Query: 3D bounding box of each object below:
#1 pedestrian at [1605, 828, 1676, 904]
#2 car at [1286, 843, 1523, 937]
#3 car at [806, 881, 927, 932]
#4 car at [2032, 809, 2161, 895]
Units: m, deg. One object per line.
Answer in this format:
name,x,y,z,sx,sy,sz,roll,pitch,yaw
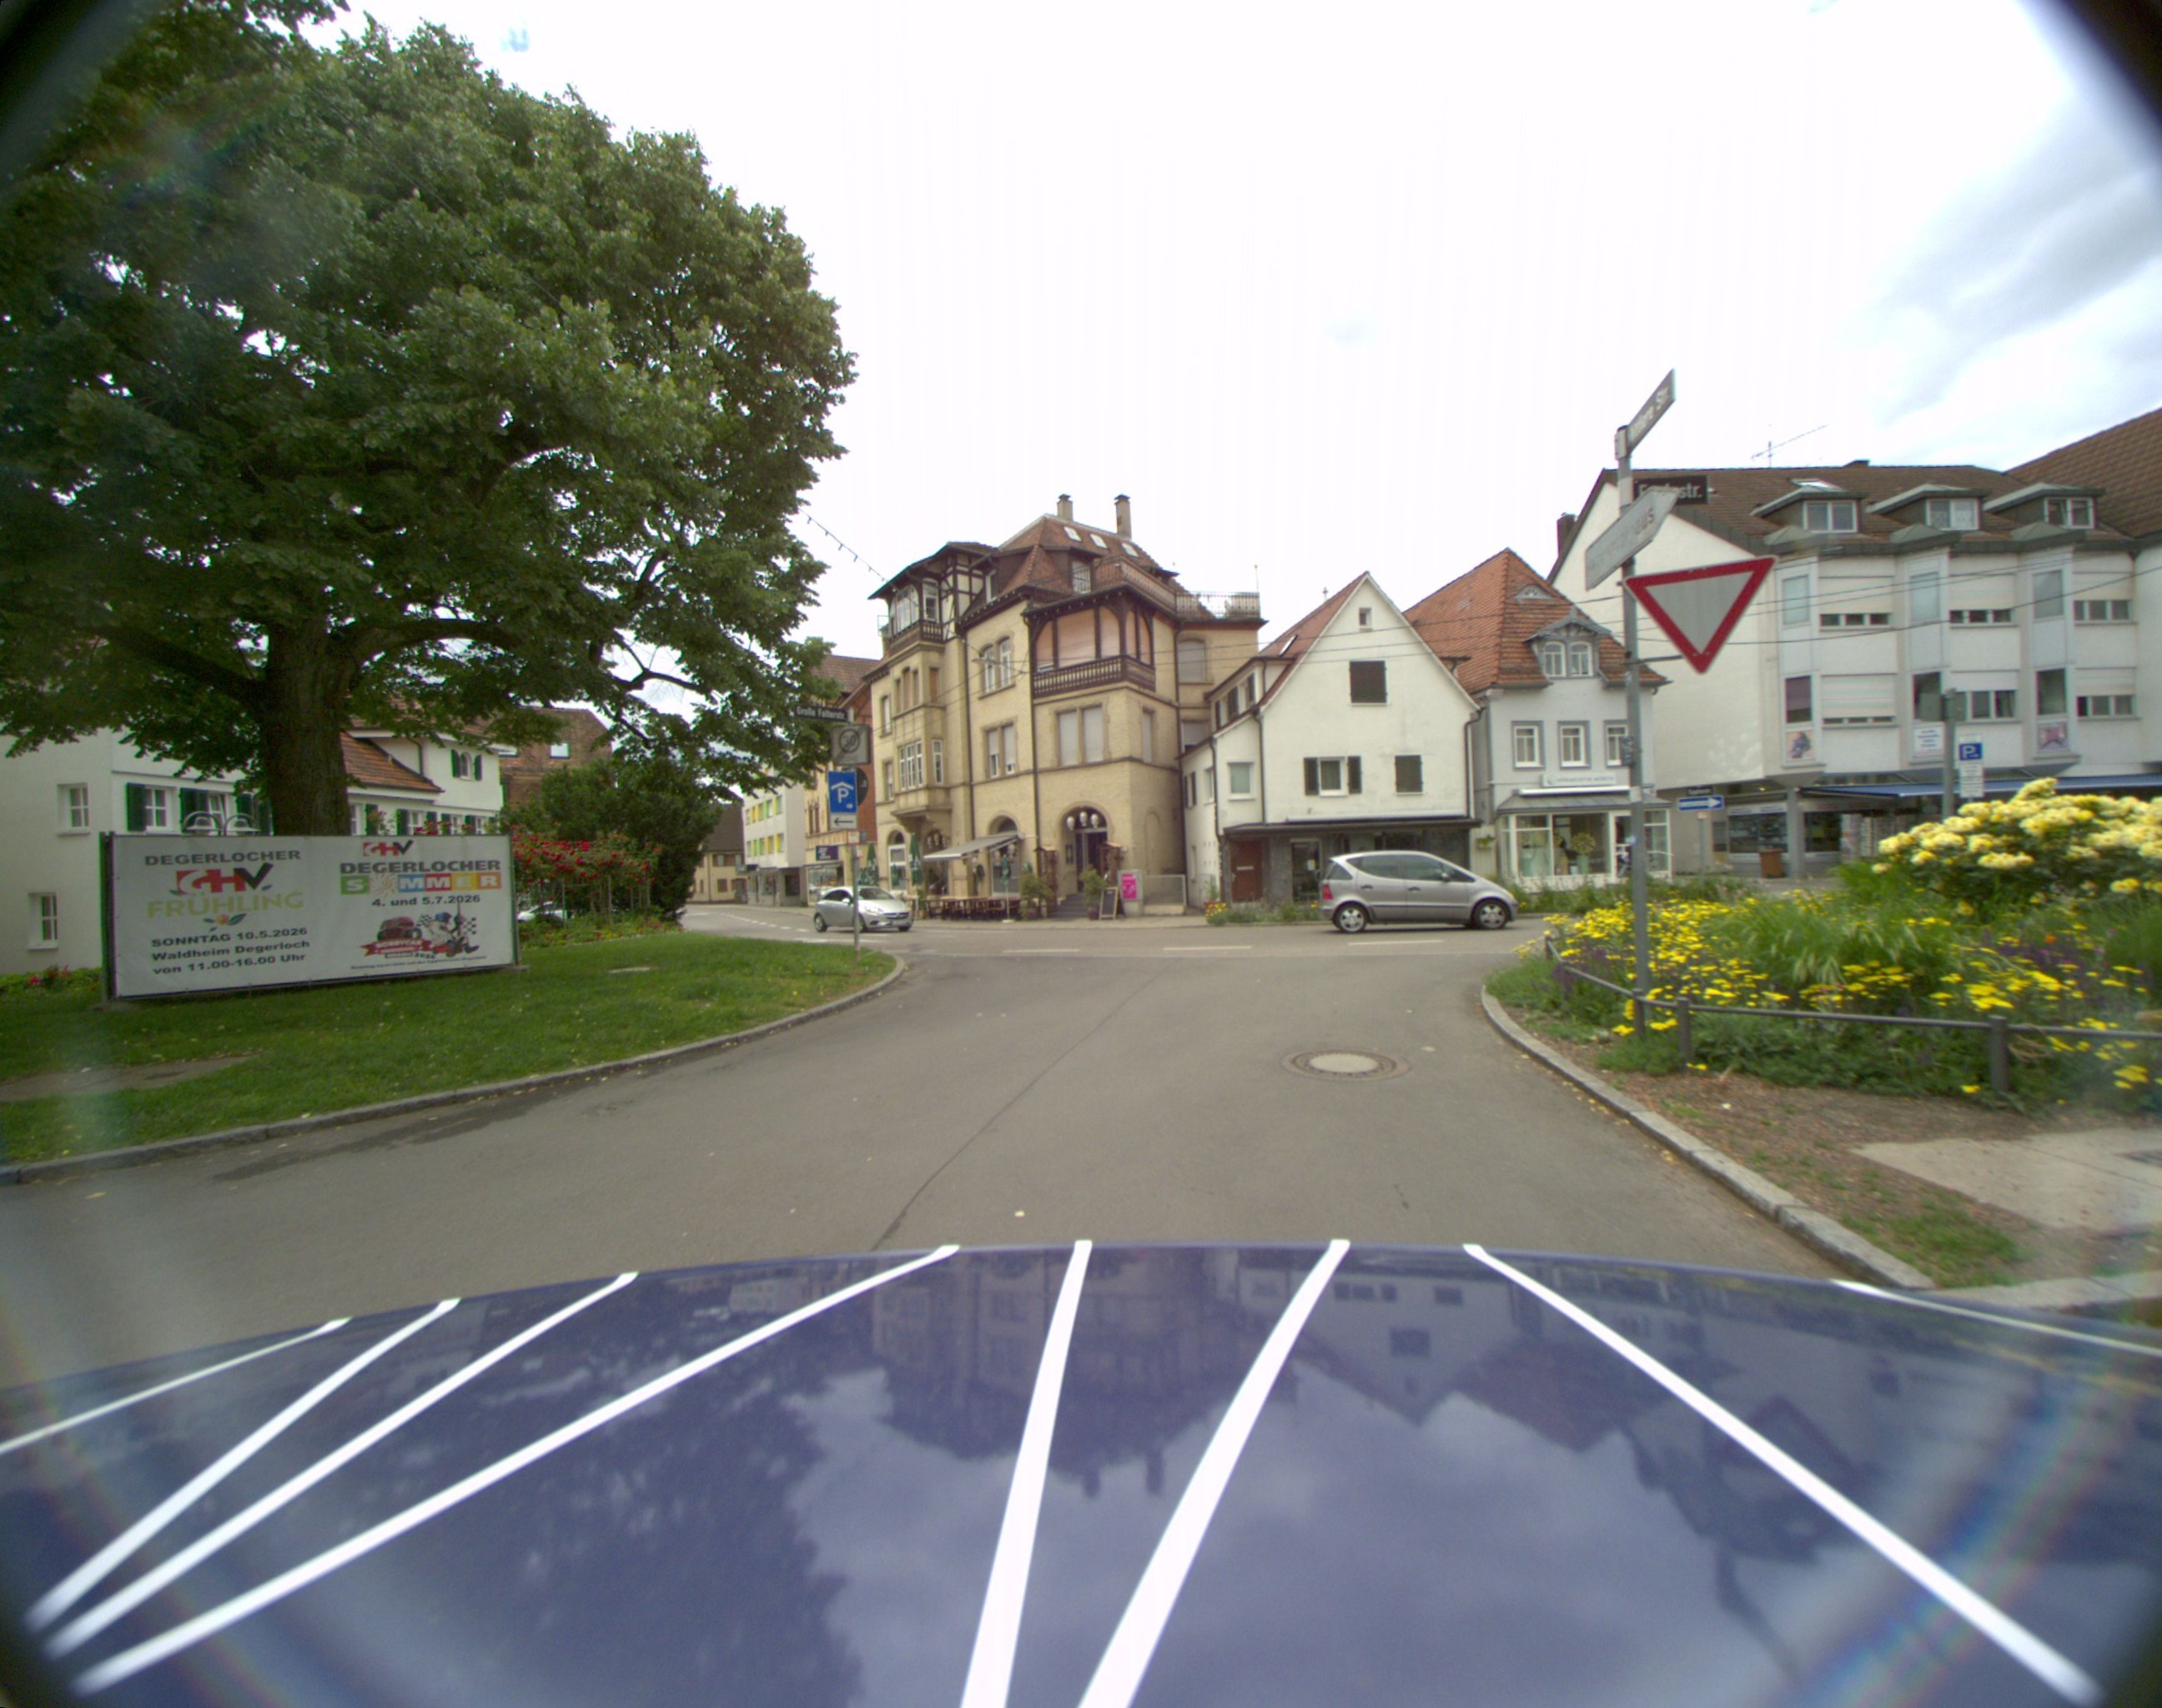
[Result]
pedestrian,15.330,0.332,20.853,1.013,2.001,1.106,-3,-1,-5
car,6.153,0.718,14.940,3.992,1.617,1.899,-2,-2,16
car,-6.808,1.621,23.911,3.989,1.347,1.760,-3,0,42
car,25.085,-0.097,17.422,3.997,1.843,2.000,-2,-1,-1
